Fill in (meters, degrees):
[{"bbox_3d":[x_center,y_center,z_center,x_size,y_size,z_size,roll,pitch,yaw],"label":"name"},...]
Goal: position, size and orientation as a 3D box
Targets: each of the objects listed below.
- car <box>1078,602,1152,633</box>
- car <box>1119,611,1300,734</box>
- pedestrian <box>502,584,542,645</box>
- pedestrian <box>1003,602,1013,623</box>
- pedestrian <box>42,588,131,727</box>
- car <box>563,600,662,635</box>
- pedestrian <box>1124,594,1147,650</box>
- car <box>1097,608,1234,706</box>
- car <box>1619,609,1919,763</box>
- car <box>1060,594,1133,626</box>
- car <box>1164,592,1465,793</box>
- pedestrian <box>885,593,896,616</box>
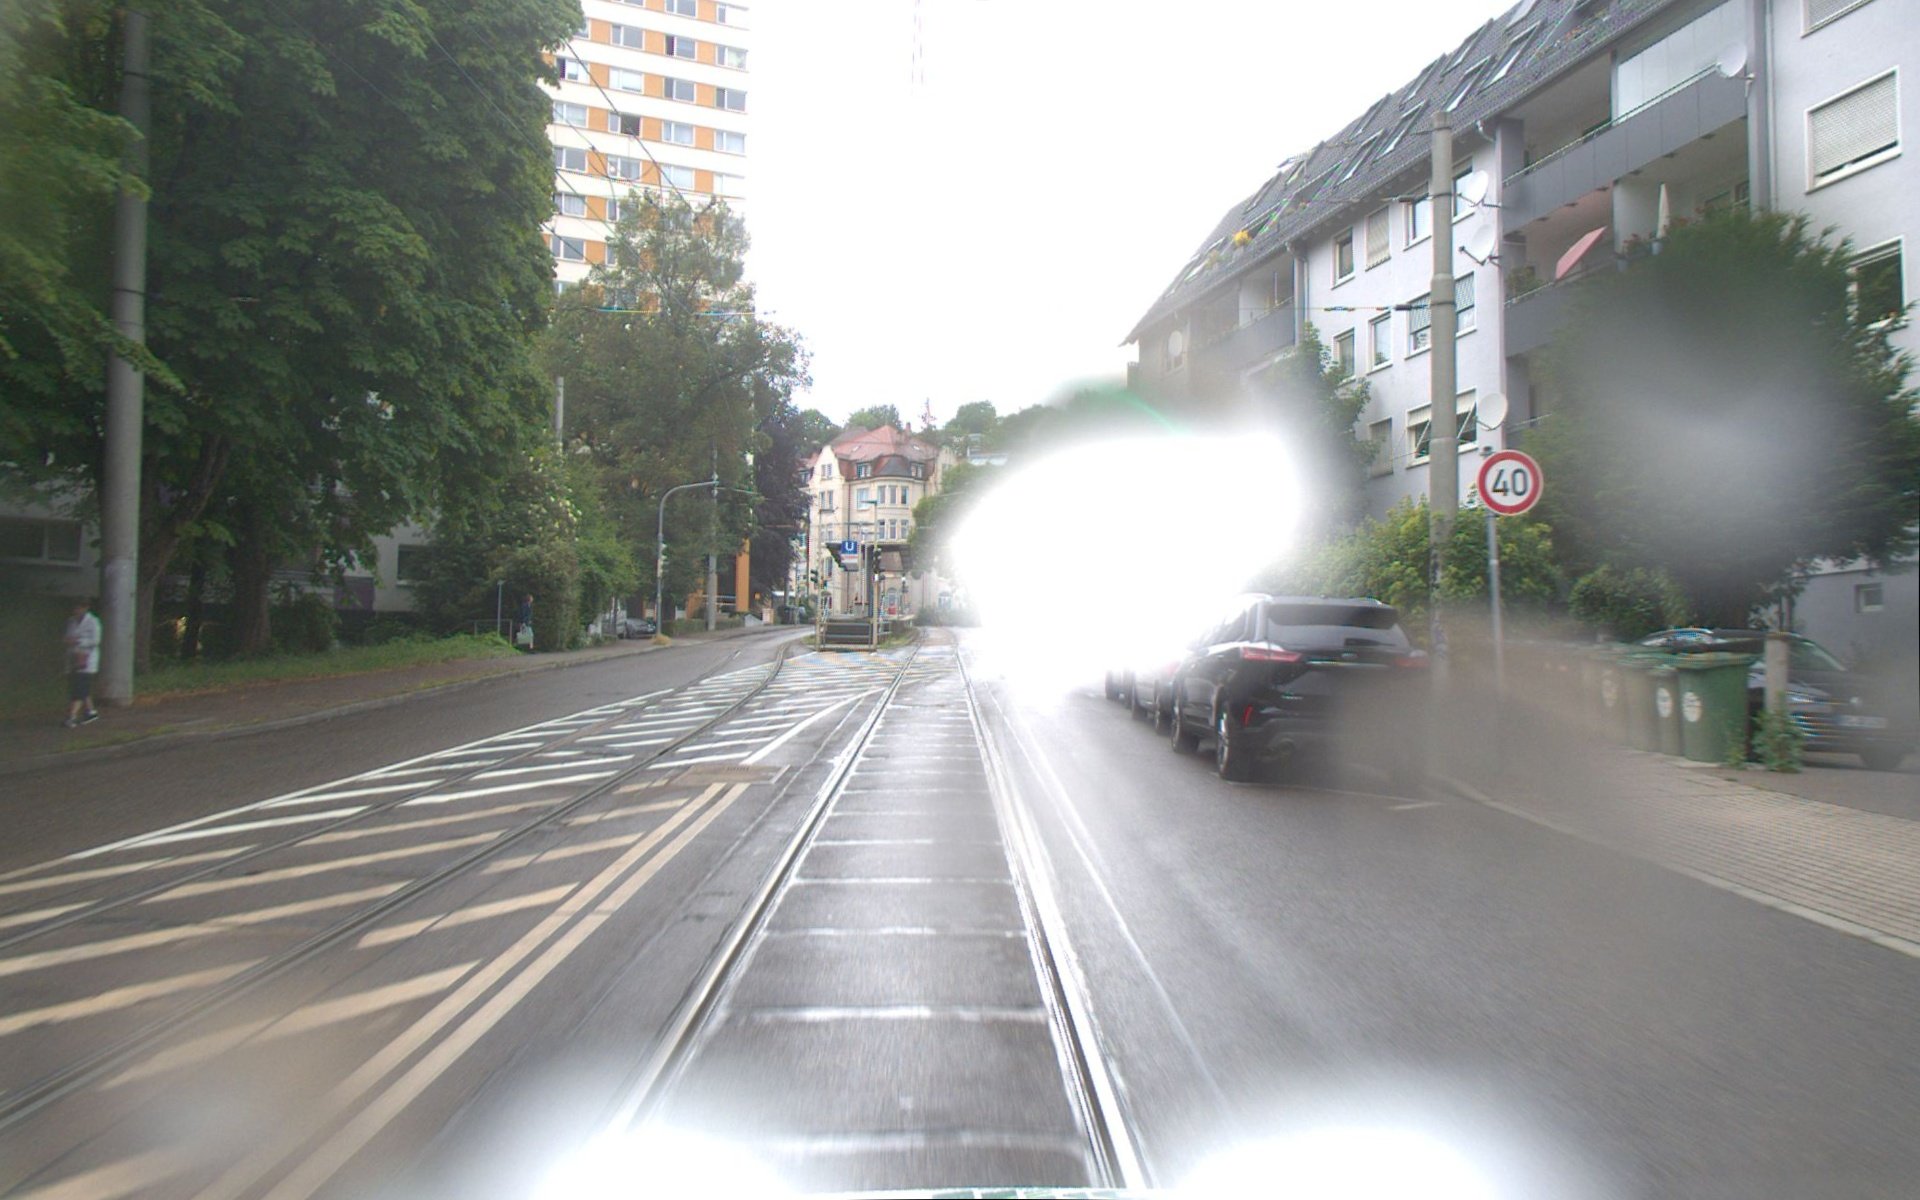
[{"bbox_3d":[8.392,0.966,89.603,3.765,1.570,1.806,1,-2,-2],"label":"car"},{"bbox_3d":[3.258,0.902,22.362,1.670,1.453,4.249,2,0,-2],"label":"car"},{"bbox_3d":[-12.725,0.423,48.104,0.897,1.707,0.740,1,-4,0],"label":"pedestrian"},{"bbox_3d":[3.467,0.921,119.825,0.567,1.492,0.543,2,-4,-9],"label":"pedestrian"},{"bbox_3d":[-10.580,0.691,20.069,0.571,1.628,0.868,3,-1,-4],"label":"pedestrian"},{"bbox_3d":[-15.120,0.770,71.942,3.905,1.431,1.682,-1,-4,22],"label":"car"},{"bbox_3d":[5.339,0.675,50.393,0.631,1.657,0.699,1,-2,3],"label":"pedestrian"},{"bbox_3d":[3.337,0.894,27.487,1.670,1.451,3.861,2,0,-2],"label":"car"},{"bbox_3d":[9.257,1.018,18.933,1.685,1.541,4.202,1,-4,-1],"label":"car"},{"bbox_3d":[7.672,0.575,93.302,3.906,1.674,1.807,1,-2,-2],"label":"car"},{"bbox_3d":[3.347,0.814,16.589,1.868,1.670,4.688,2,0,-2],"label":"car"},{"bbox_3d":[-4.712,0.307,112.703,0.644,1.492,0.772,1,-4,2],"label":"pedestrian"}]
